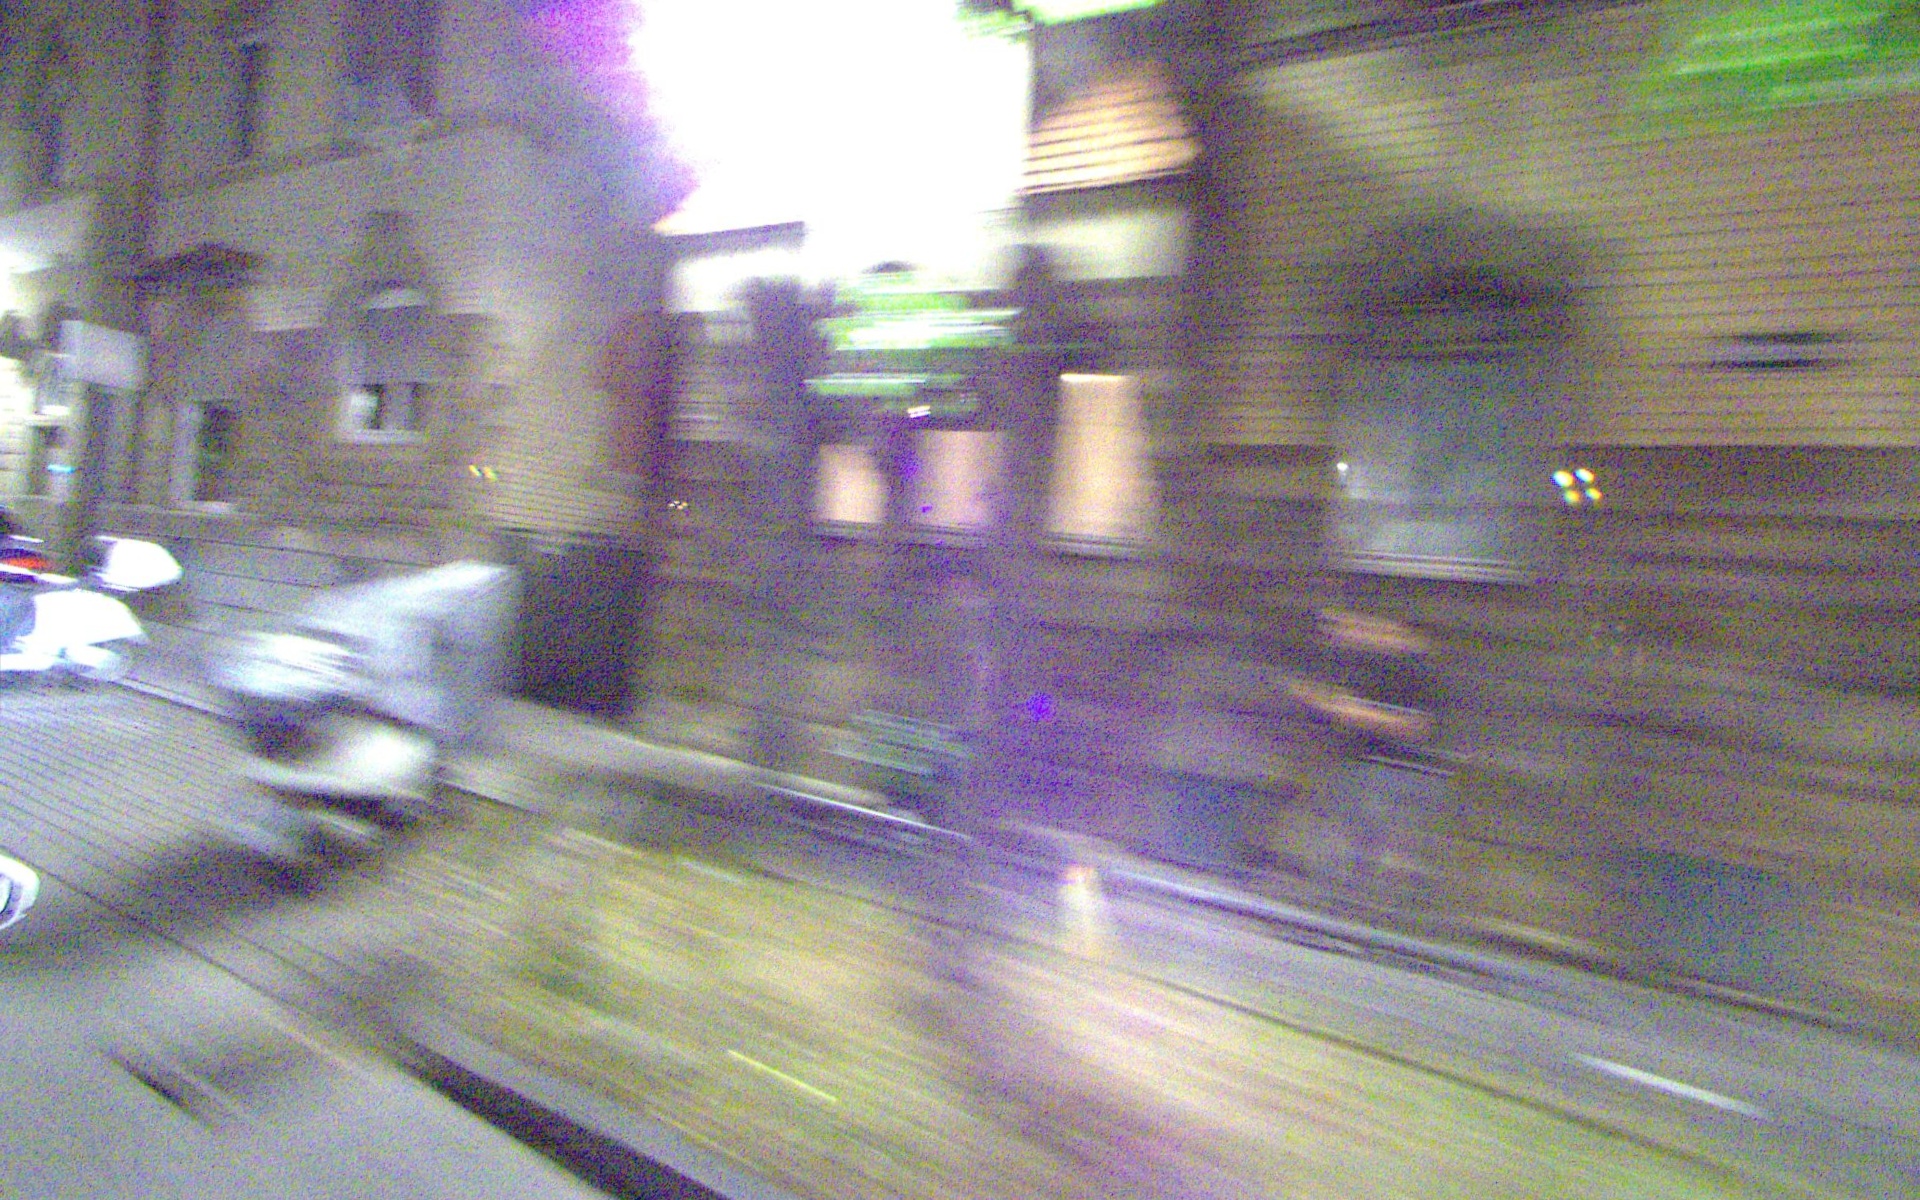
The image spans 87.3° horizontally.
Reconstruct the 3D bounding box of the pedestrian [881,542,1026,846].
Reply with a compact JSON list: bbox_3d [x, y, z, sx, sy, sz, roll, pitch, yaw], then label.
[{"bbox_3d":[-0.035,0.548,6.153,0.561,1.731,0.477,6,2,30],"label":"pedestrian"}]

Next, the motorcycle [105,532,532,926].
[{"bbox_3d":[-2.727,0.467,4.606,0.749,1.370,1.942,6,1,-5],"label":"motorcycle"}]

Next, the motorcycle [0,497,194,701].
[{"bbox_3d":[-7.096,-0.039,7.442,0.907,1.425,2.057,6,2,20],"label":"motorcycle"}]

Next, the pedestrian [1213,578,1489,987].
[{"bbox_3d":[1.883,0.791,4.811,0.950,1.651,0.808,6,0,32],"label":"pedestrian"}]

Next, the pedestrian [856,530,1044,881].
[{"bbox_3d":[-0.050,0.532,5.431,0.693,1.731,0.507,6,2,31],"label":"pedestrian"}]

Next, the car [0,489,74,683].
[{"bbox_3d":[-9.655,-0.325,8.560,4.390,1.520,1.735,6,1,29],"label":"car"}]
